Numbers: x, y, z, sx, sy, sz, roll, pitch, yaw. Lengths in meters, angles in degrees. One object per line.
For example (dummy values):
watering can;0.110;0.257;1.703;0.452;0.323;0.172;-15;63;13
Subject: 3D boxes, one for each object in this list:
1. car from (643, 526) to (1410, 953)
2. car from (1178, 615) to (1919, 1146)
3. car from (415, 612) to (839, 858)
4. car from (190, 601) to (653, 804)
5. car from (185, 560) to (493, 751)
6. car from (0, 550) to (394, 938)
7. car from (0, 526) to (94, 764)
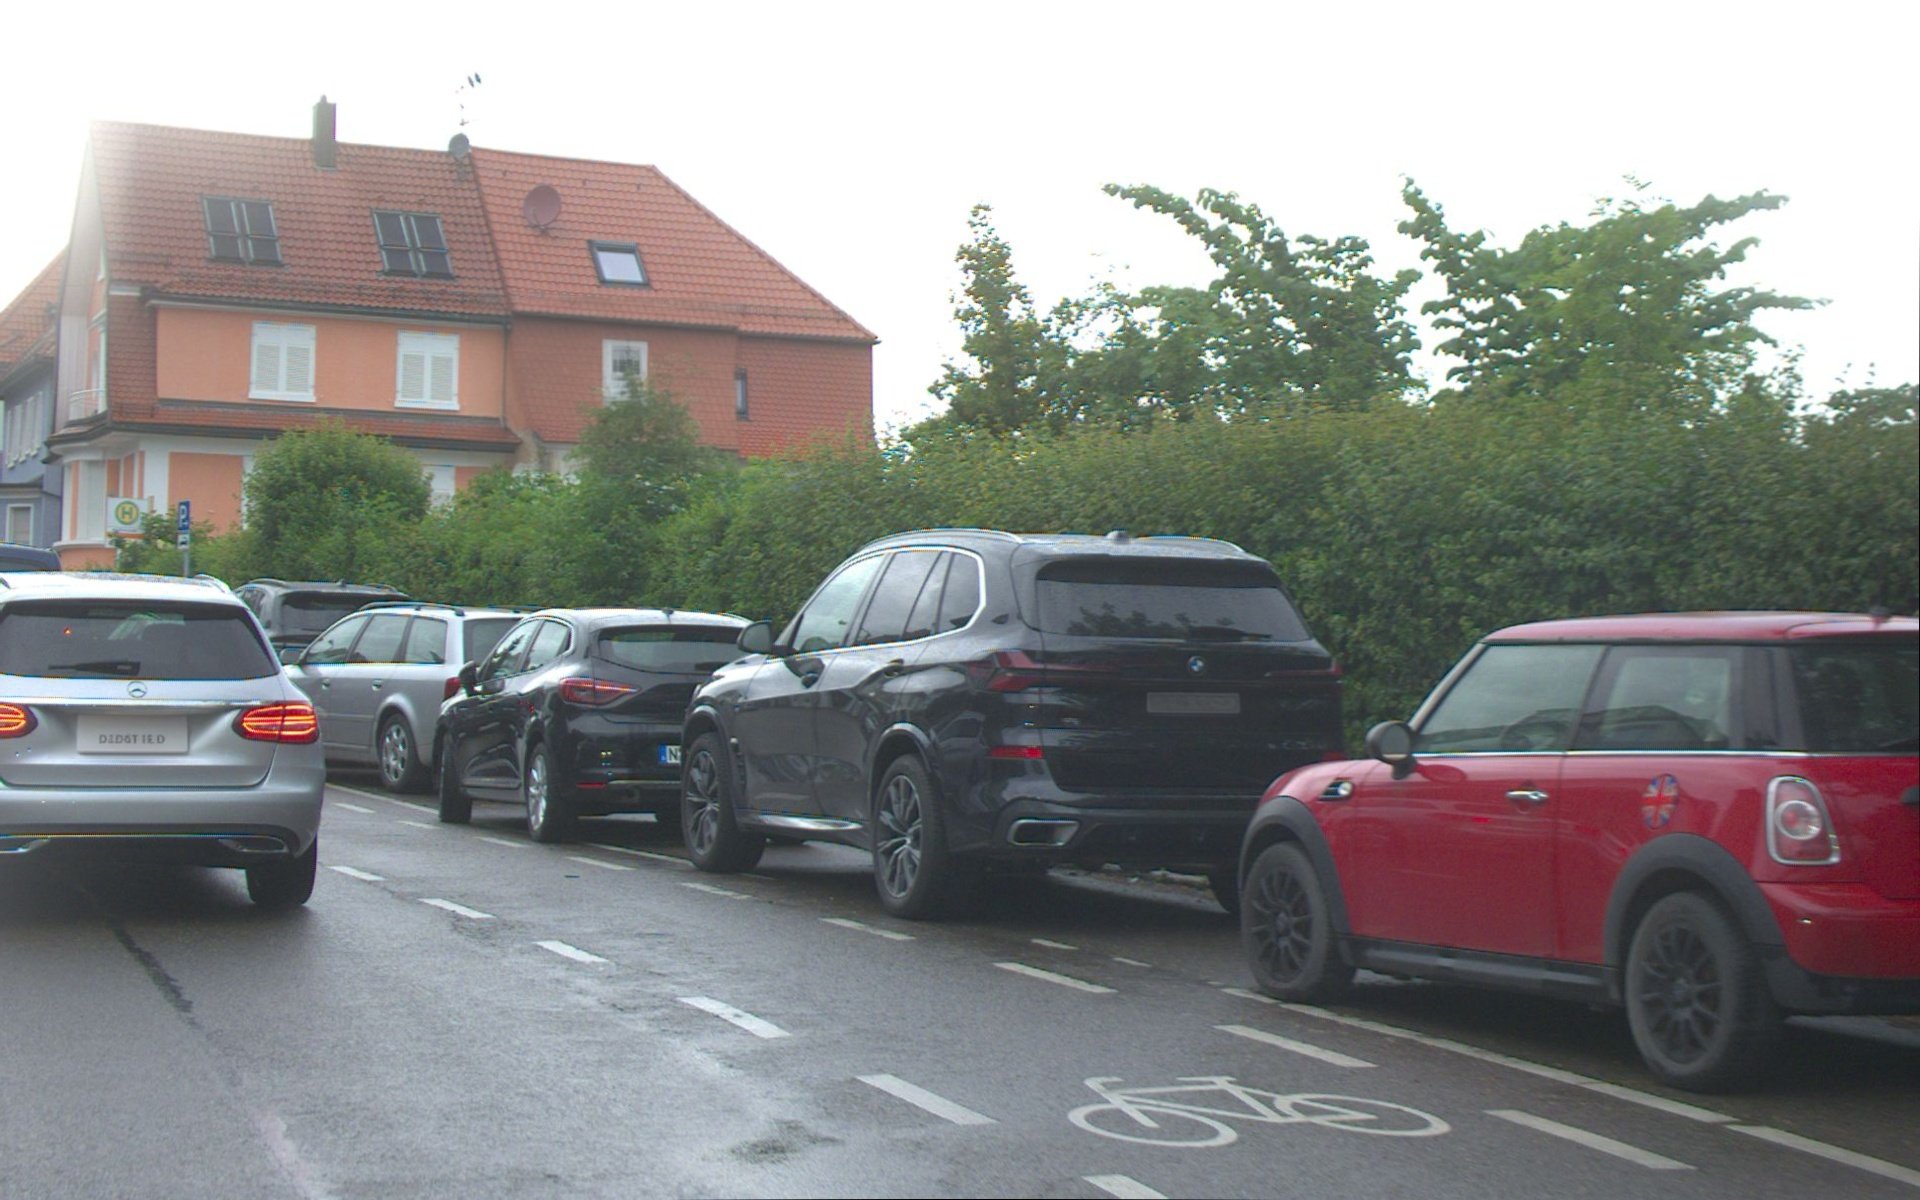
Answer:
car;0.114;0.553;16.940;2.026;1.776;4.900;1;1;-21
car;2.339;0.791;11.580;1.670;1.409;3.743;0;1;-23
car;-2.224;0.794;21.973;1.688;1.417;3.984;1;0;-21
car;-4.482;0.786;28.026;1.799;1.435;4.641;2;0;-36
car;-6.043;0.490;33.025;1.886;1.657;4.549;2;0;-23
car;-4.041;0.567;15.944;1.982;1.548;4.299;1;0;-20
car;-8.621;0.345;29.604;1.824;1.876;4.096;-3;2;-19
